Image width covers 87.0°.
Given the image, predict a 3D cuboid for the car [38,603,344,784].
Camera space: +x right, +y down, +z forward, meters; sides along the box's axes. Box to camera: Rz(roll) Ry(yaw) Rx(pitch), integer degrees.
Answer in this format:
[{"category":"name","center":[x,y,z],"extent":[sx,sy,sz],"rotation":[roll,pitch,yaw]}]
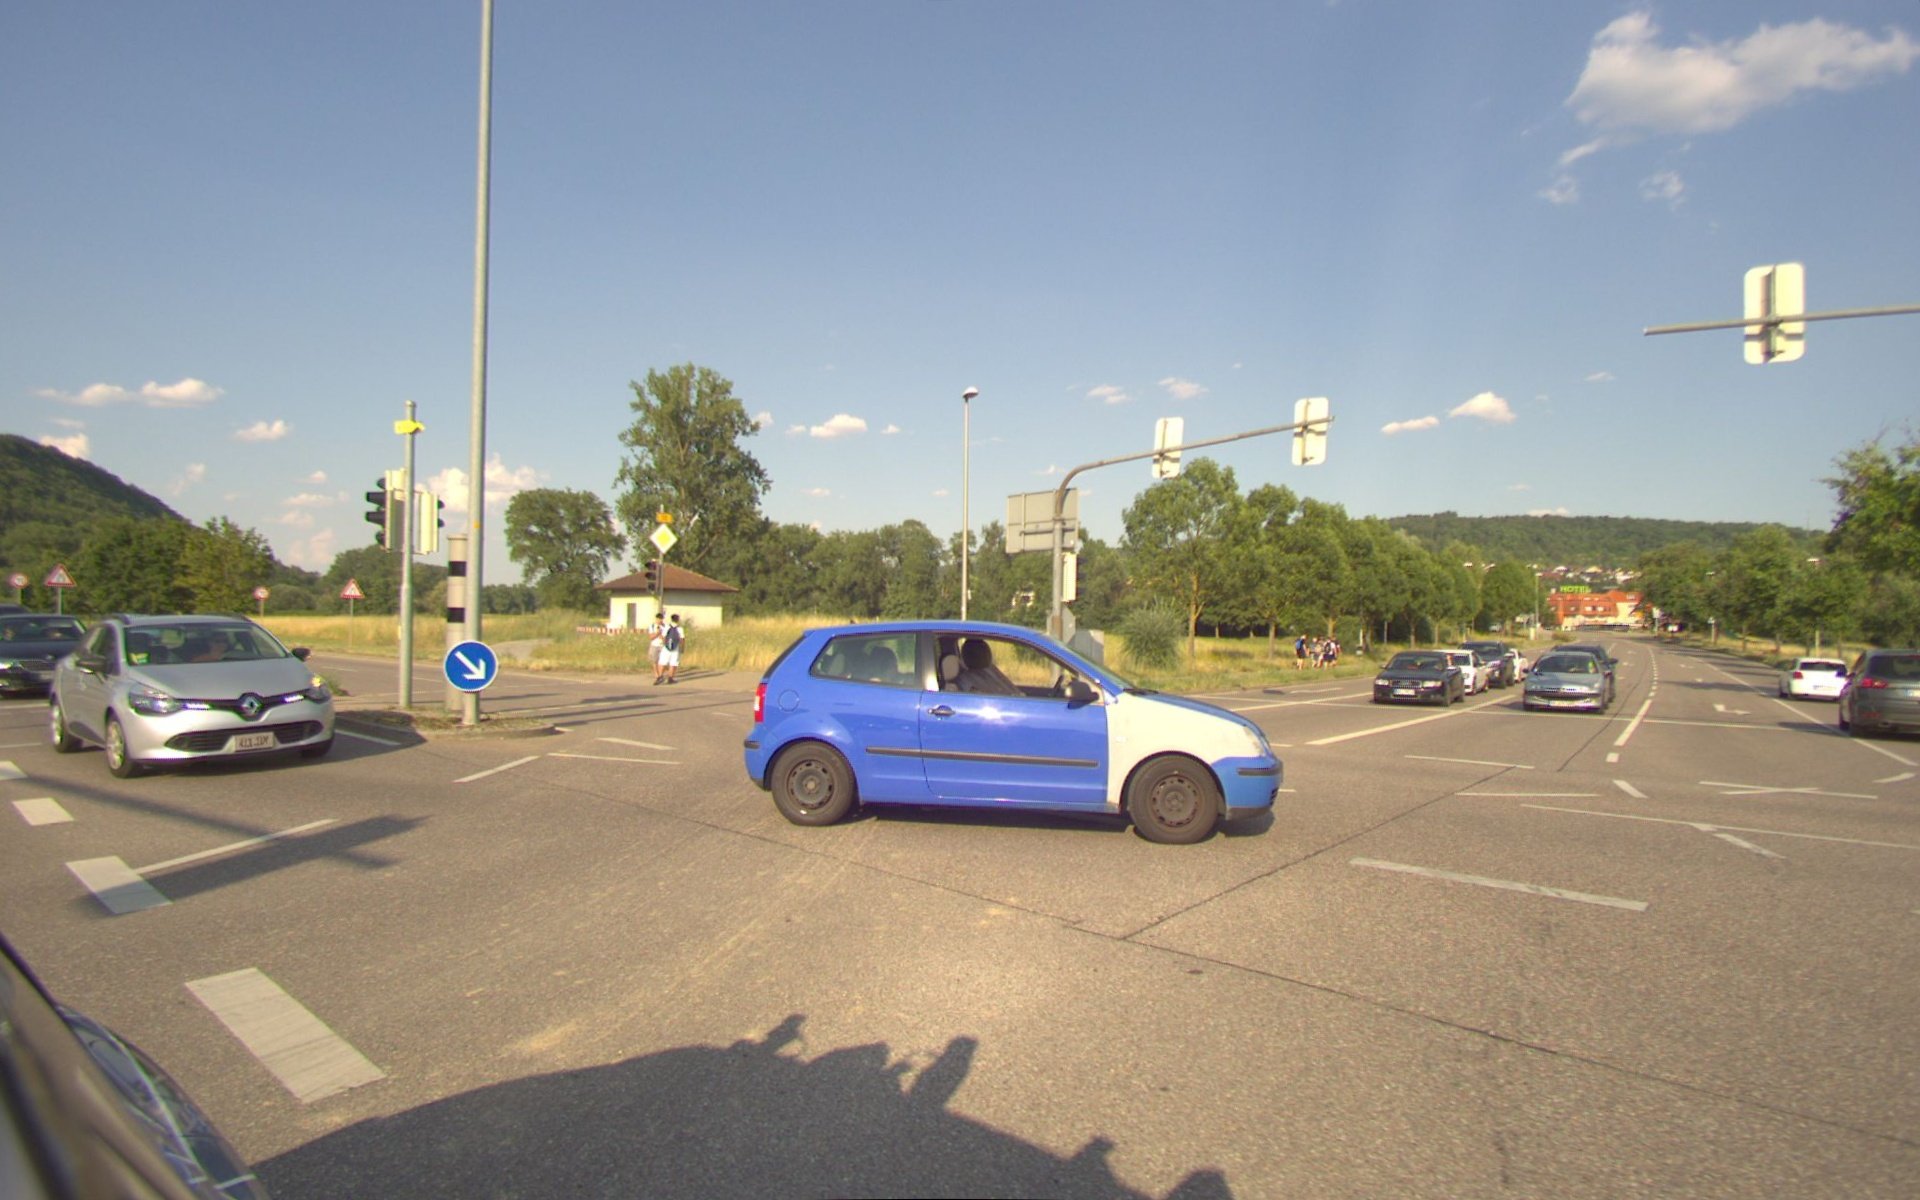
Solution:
[{"category":"car","center":[-8.006,0.796,10.391],"extent":[4.188,1.488,1.738],"rotation":[-1,-1,42]}]

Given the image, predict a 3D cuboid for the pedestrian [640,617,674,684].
[{"category":"pedestrian","center":[-7.663,1.265,25.565],"extent":[0.645,1.618,0.839],"rotation":[-1,0,-28]}]

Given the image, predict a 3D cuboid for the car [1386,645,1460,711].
[{"category":"car","center":[12.127,1.971,26.420],"extent":[1.628,1.370,3.845],"rotation":[0,0,26]}]

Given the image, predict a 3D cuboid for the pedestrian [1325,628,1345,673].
[{"category":"pedestrian","center":[17.067,2.290,46.083],"extent":[0.722,2.029,0.687],"rotation":[0,0,34]}]

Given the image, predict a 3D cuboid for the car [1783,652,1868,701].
[{"category":"car","center":[27.995,2.447,32.844],"extent":[1.764,1.378,3.704],"rotation":[0,-2,36]}]

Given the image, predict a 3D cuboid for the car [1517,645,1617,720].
[{"category":"car","center":[14.581,1.915,24.480],"extent":[1.759,1.431,3.845],"rotation":[0,0,26]}]

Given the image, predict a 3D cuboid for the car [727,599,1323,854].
[{"category":"car","center":[0.464,0.781,7.324],"extent":[3.852,1.511,1.686],"rotation":[0,-2,12]}]

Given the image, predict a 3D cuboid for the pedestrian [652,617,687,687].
[{"category":"pedestrian","center":[-7.062,1.245,24.586],"extent":[0.645,1.618,0.892],"rotation":[-1,0,-28]}]

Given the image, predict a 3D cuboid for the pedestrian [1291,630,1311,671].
[{"category":"pedestrian","center":[16.084,2.373,47.746],"extent":[0.421,1.867,0.785],"rotation":[-1,0,-41]}]

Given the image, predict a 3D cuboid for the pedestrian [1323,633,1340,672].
[{"category":"pedestrian","center":[17.545,2.466,47.838],"extent":[0.718,1.771,0.692],"rotation":[0,0,17]}]

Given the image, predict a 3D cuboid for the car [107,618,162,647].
[{"category":"car","center":[-45.776,1.793,56.112],"extent":[4.144,1.445,1.690],"rotation":[0,-3,42]}]

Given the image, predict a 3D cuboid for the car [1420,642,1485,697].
[{"category":"car","center":[15.791,2.166,32.451],"extent":[1.759,1.431,3.845],"rotation":[0,0,26]}]

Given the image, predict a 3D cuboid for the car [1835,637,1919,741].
[{"category":"car","center":[17.366,1.579,18.319],"extent":[1.922,1.703,4.107],"rotation":[1,-2,36]}]

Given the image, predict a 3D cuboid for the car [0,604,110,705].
[{"category":"car","center":[-16.431,0.871,17.912],"extent":[3.999,1.586,1.596],"rotation":[0,1,42]}]

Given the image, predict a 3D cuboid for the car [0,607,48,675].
[{"category":"car","center":[-24.450,0.990,25.455],"extent":[4.144,1.586,1.834],"rotation":[0,1,42]}]

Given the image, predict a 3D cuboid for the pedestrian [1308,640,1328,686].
[{"category":"pedestrian","center":[16.496,2.892,46.656],"extent":[0.722,2.029,0.687],"rotation":[0,0,34]}]

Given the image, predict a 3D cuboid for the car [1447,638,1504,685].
[{"category":"car","center":[18.903,2.220,37.183],"extent":[1.759,1.431,3.845],"rotation":[0,0,26]}]

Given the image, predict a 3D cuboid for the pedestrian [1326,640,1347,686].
[{"category":"pedestrian","center":[17.273,2.887,46.418],"extent":[0.722,2.029,0.687],"rotation":[0,0,34]}]
